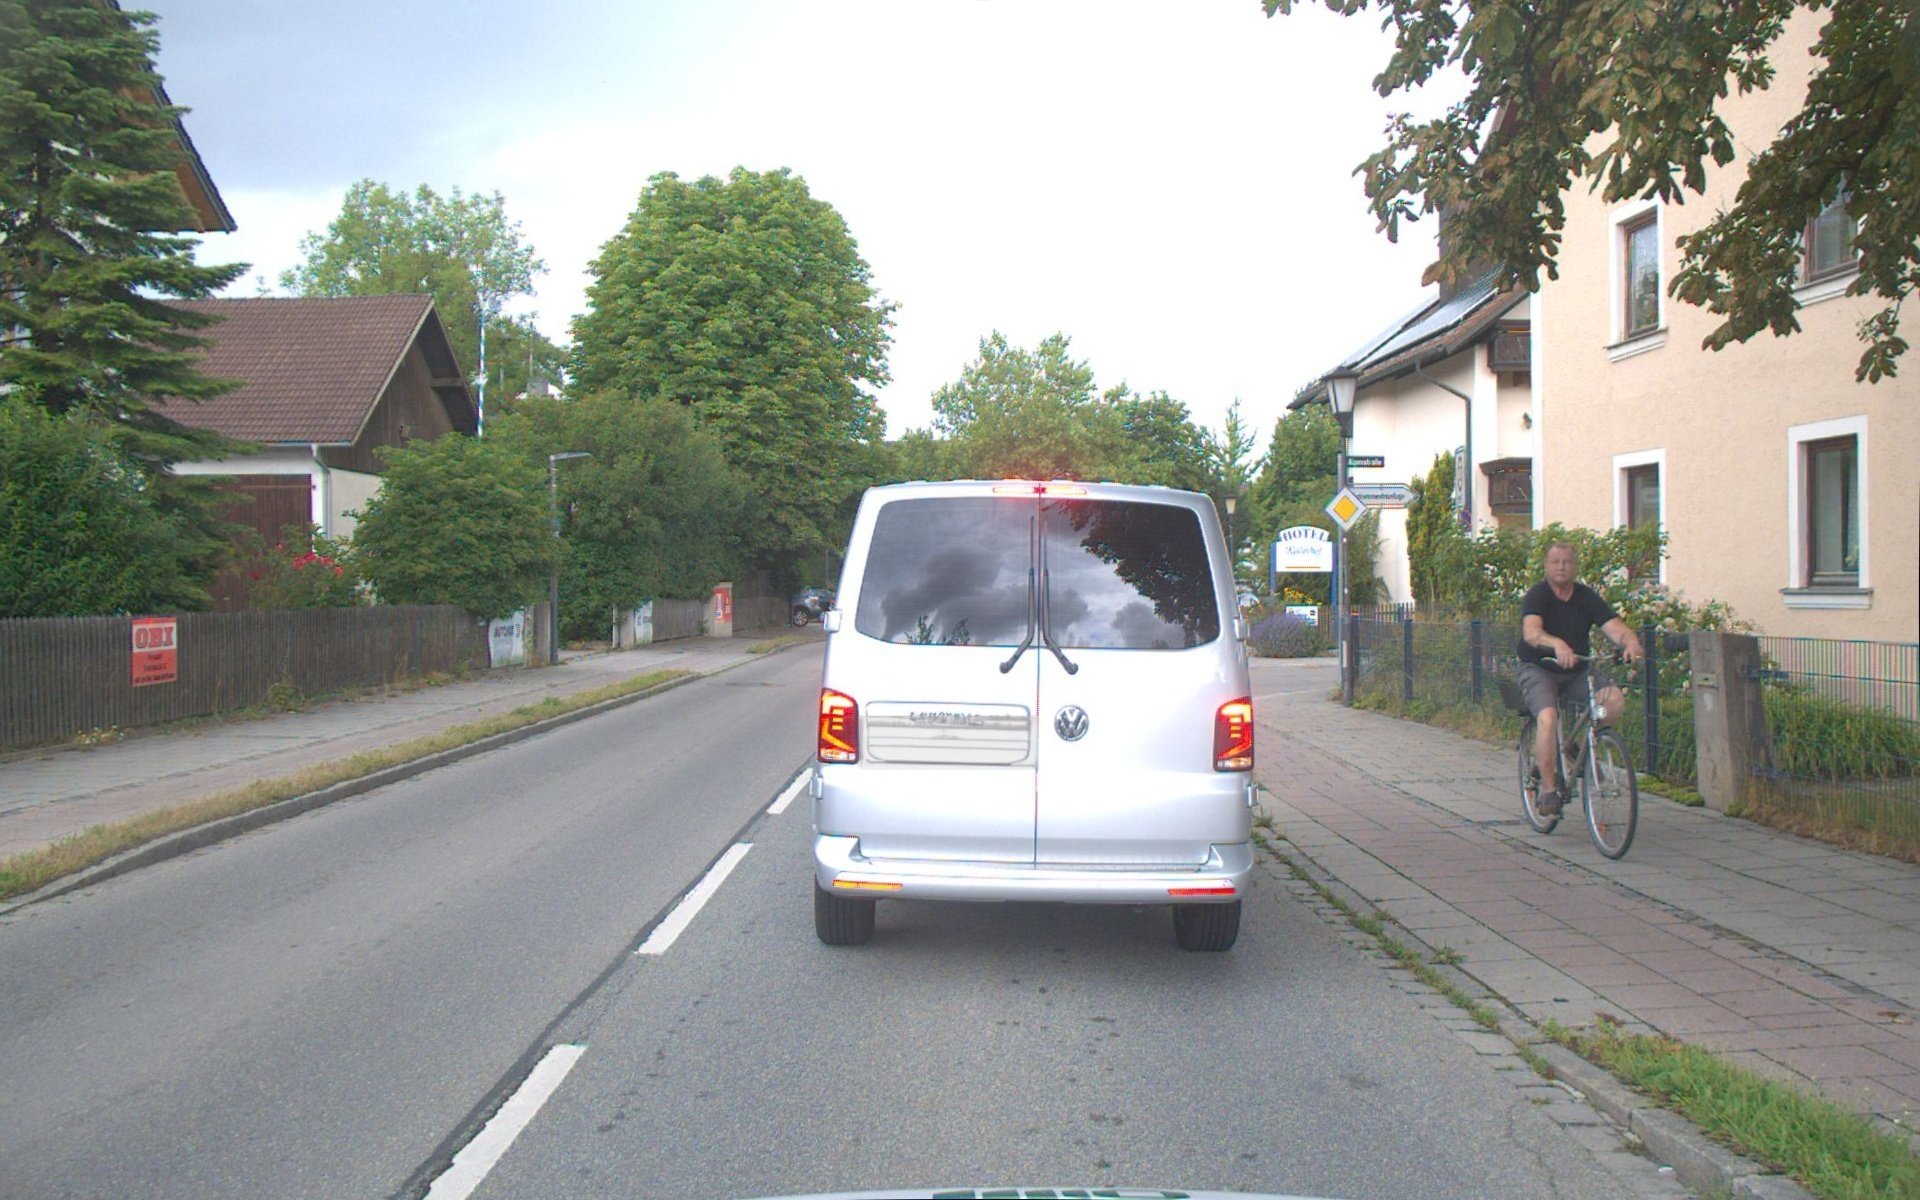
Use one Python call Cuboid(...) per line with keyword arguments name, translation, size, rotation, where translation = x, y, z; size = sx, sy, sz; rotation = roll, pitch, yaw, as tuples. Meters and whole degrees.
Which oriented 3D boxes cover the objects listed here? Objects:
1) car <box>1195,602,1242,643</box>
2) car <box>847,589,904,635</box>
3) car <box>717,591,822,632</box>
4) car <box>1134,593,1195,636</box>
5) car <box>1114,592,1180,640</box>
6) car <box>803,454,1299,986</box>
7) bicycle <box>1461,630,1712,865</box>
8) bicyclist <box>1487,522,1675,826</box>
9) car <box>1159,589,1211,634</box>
Cuboid(name="car", translation=(12.068, 1.019, 77.058), size=(1.841, 1.857, 3.924), rotation=(0, 0, 13))
Cuboid(name="car", translation=(-3.087, 0.406, 61.166), size=(1.891, 1.602, 4.311), rotation=(1, 0, 0))
Cuboid(name="car", translation=(-7.306, 0.425, 63.211), size=(3.912, 1.512, 1.996), rotation=(0, 0, -9))
Cuboid(name="car", translation=(7.667, 0.519, 61.626), size=(1.841, 1.562, 3.924), rotation=(0, 0, 13))
Cuboid(name="car", translation=(6.319, 0.514, 55.589), size=(1.841, 1.562, 3.924), rotation=(0, 0, 11))
Cuboid(name="car", translation=(0.353, 0.439, 8.129), size=(1.842, 1.974, 3.921), rotation=(0, 0, 0))
Cuboid(name="bicycle", translation=(3.573, 0.790, 9.618), size=(0.749, 1.163, 1.845), rotation=(-2, 0, 1))
Cuboid(name="bicyclist", translation=(3.580, 0.409, 9.599), size=(0.721, 1.661, 0.890), rotation=(-2, 0, 1))
Cuboid(name="car", translation=(9.339, 0.452, 68.513), size=(1.841, 1.779, 4.084), rotation=(0, 0, 12))
